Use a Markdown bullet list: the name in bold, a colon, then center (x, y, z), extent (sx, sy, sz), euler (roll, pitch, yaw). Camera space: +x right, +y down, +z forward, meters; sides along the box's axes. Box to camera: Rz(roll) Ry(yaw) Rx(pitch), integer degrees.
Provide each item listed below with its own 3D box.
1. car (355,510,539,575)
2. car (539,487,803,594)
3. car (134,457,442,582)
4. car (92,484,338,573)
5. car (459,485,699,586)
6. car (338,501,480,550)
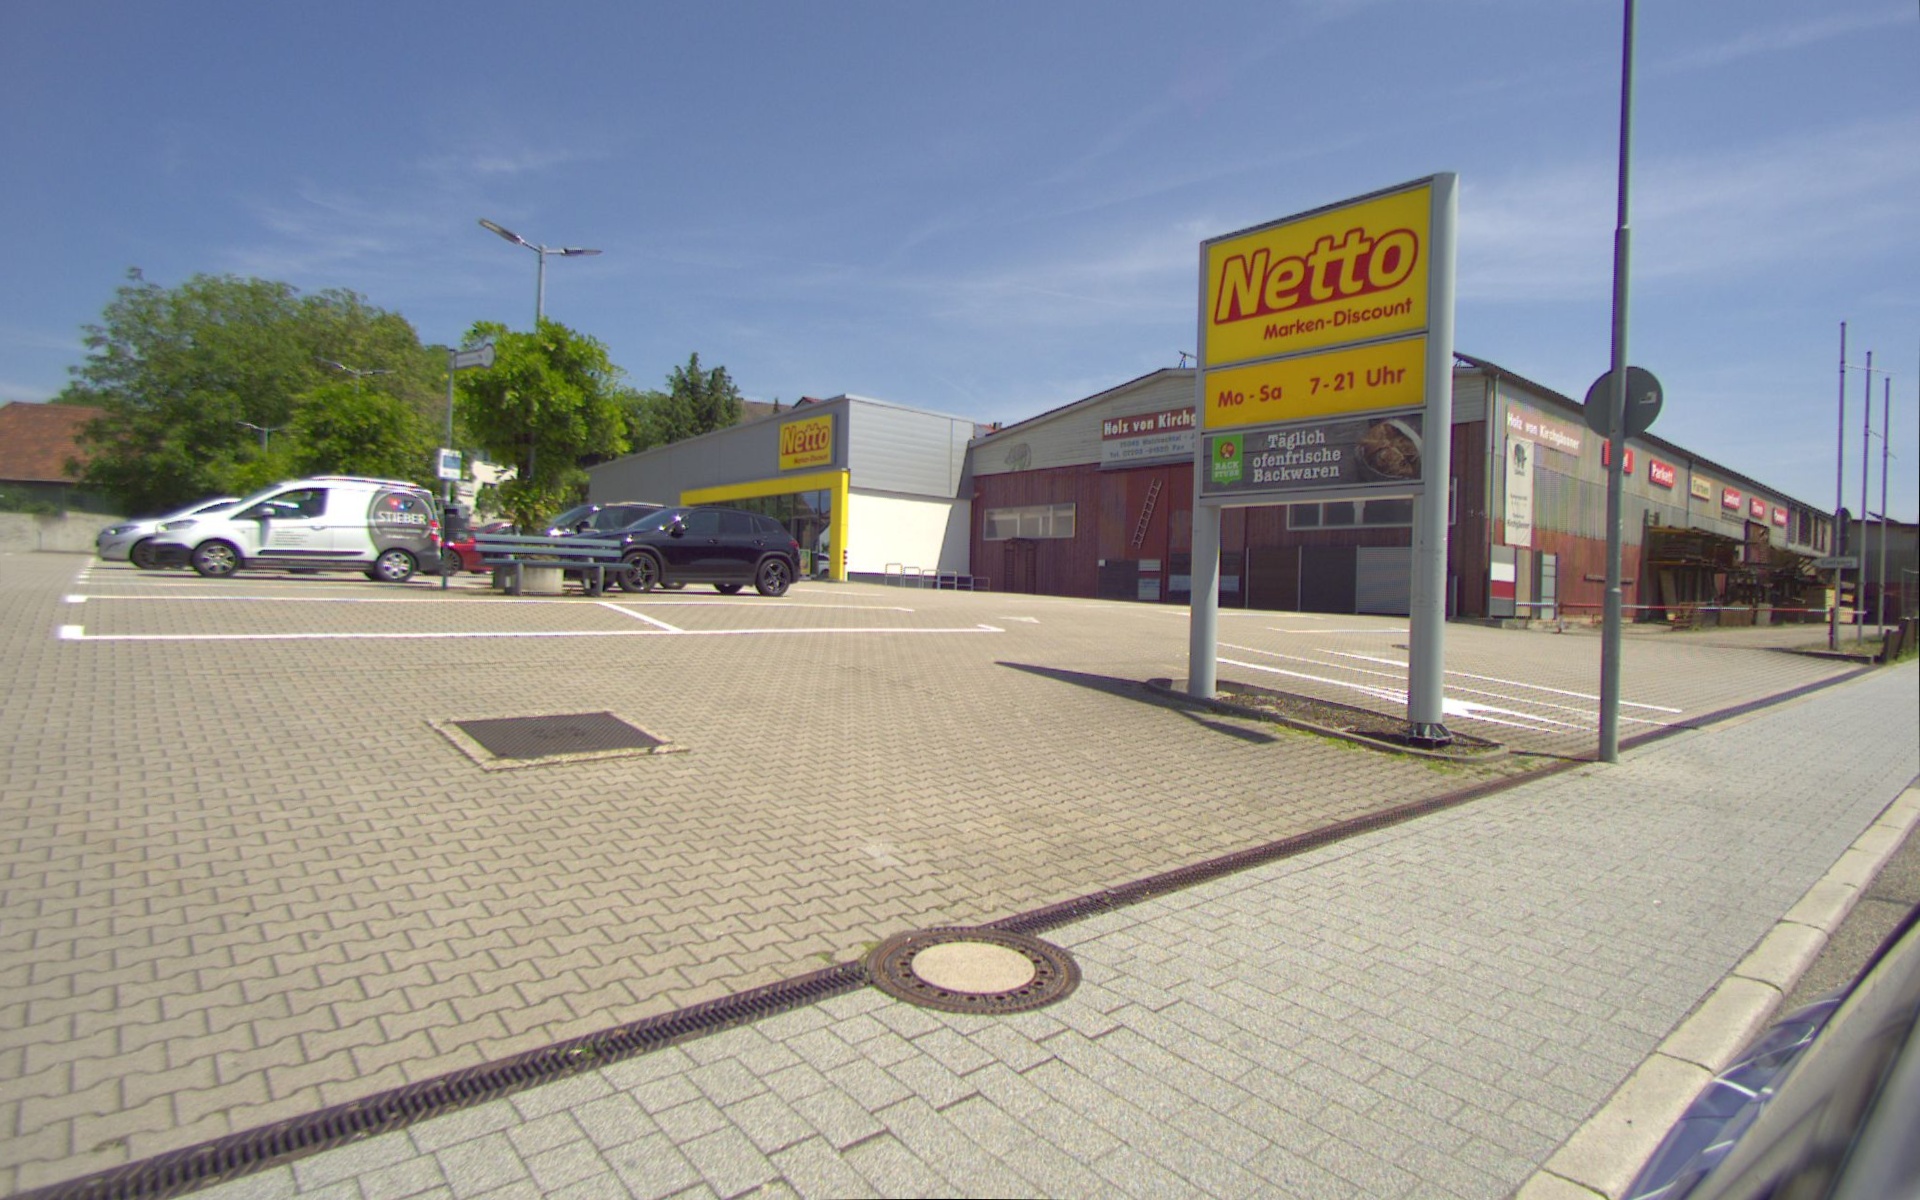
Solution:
- **car**: center (-12.773, -1.422, 25.327), extent (3.814, 1.430, 1.644), euler (0, 4, -41)
- **car**: center (-5.113, -1.007, 18.264), extent (4.140, 1.615, 1.909), euler (1, 2, -45)
- **car**: center (-11.123, -1.271, 16.881), extent (4.057, 1.768, 1.912), euler (0, 4, -42)
- **car**: center (-14.812, -1.392, 20.240), extent (3.815, 1.527, 1.621), euler (0, 4, -43)
- **car**: center (-7.570, -1.254, 20.283), extent (4.057, 1.768, 1.912), euler (0, 4, -42)
- **car**: center (-18.817, -2.531, 34.645), extent (4.017, 1.430, 1.644), euler (0, 4, -41)
